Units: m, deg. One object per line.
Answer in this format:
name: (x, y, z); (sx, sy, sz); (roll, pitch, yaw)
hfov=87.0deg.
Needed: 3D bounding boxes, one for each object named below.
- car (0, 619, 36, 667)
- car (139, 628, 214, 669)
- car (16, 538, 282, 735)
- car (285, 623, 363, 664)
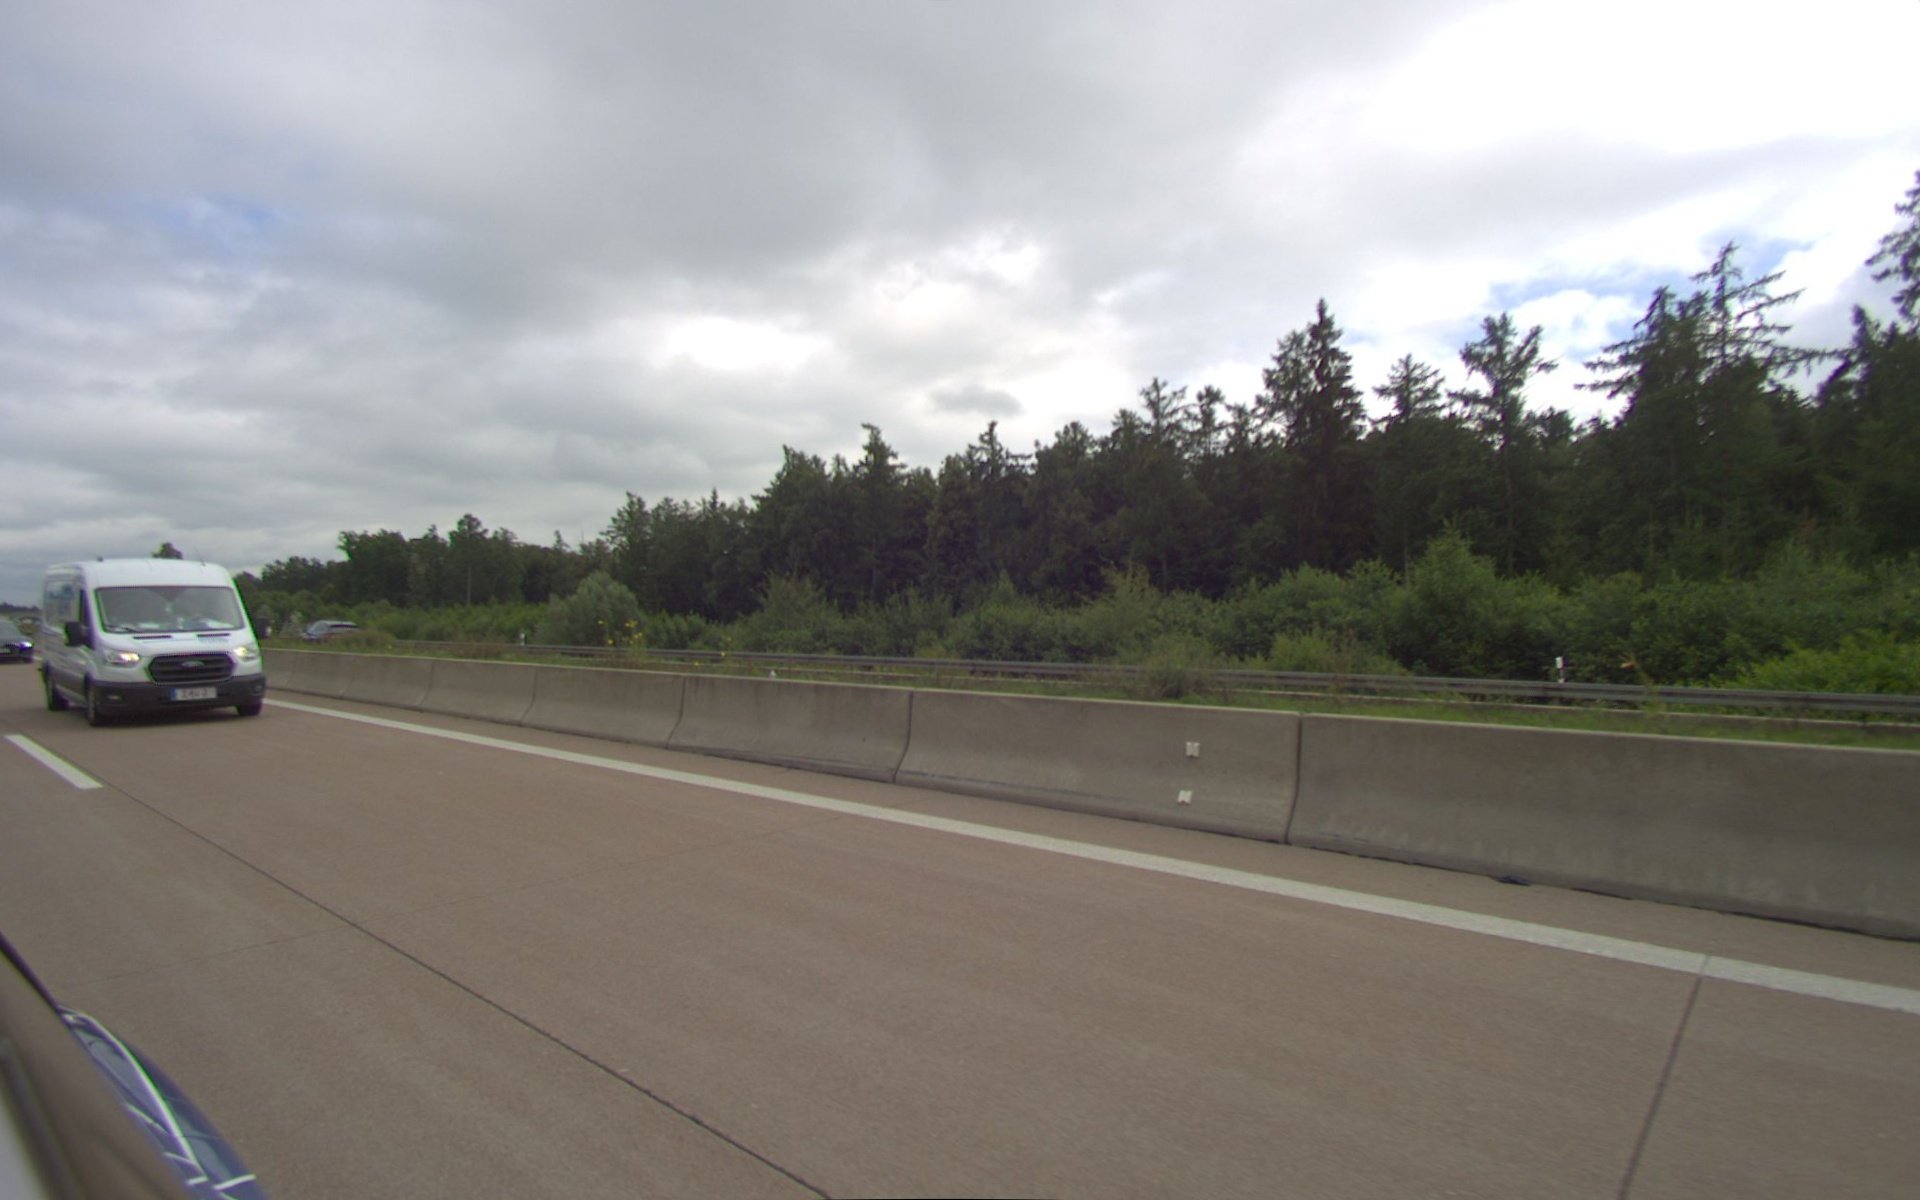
car: (-33.484, 1.446, 34.716); (5.672, 1.562, 2.063); (-1, 0, 42)
car: (-36.787, 2.214, 47.501); (4.429, 1.687, 1.943); (-1, 2, 41)
car: (-13.140, 0.537, 16.142); (7.128, 2.526, 2.115); (-1, -1, 41)
car: (-28.238, 1.876, 44.899); (3.998, 1.687, 1.898); (-1, 0, 41)
